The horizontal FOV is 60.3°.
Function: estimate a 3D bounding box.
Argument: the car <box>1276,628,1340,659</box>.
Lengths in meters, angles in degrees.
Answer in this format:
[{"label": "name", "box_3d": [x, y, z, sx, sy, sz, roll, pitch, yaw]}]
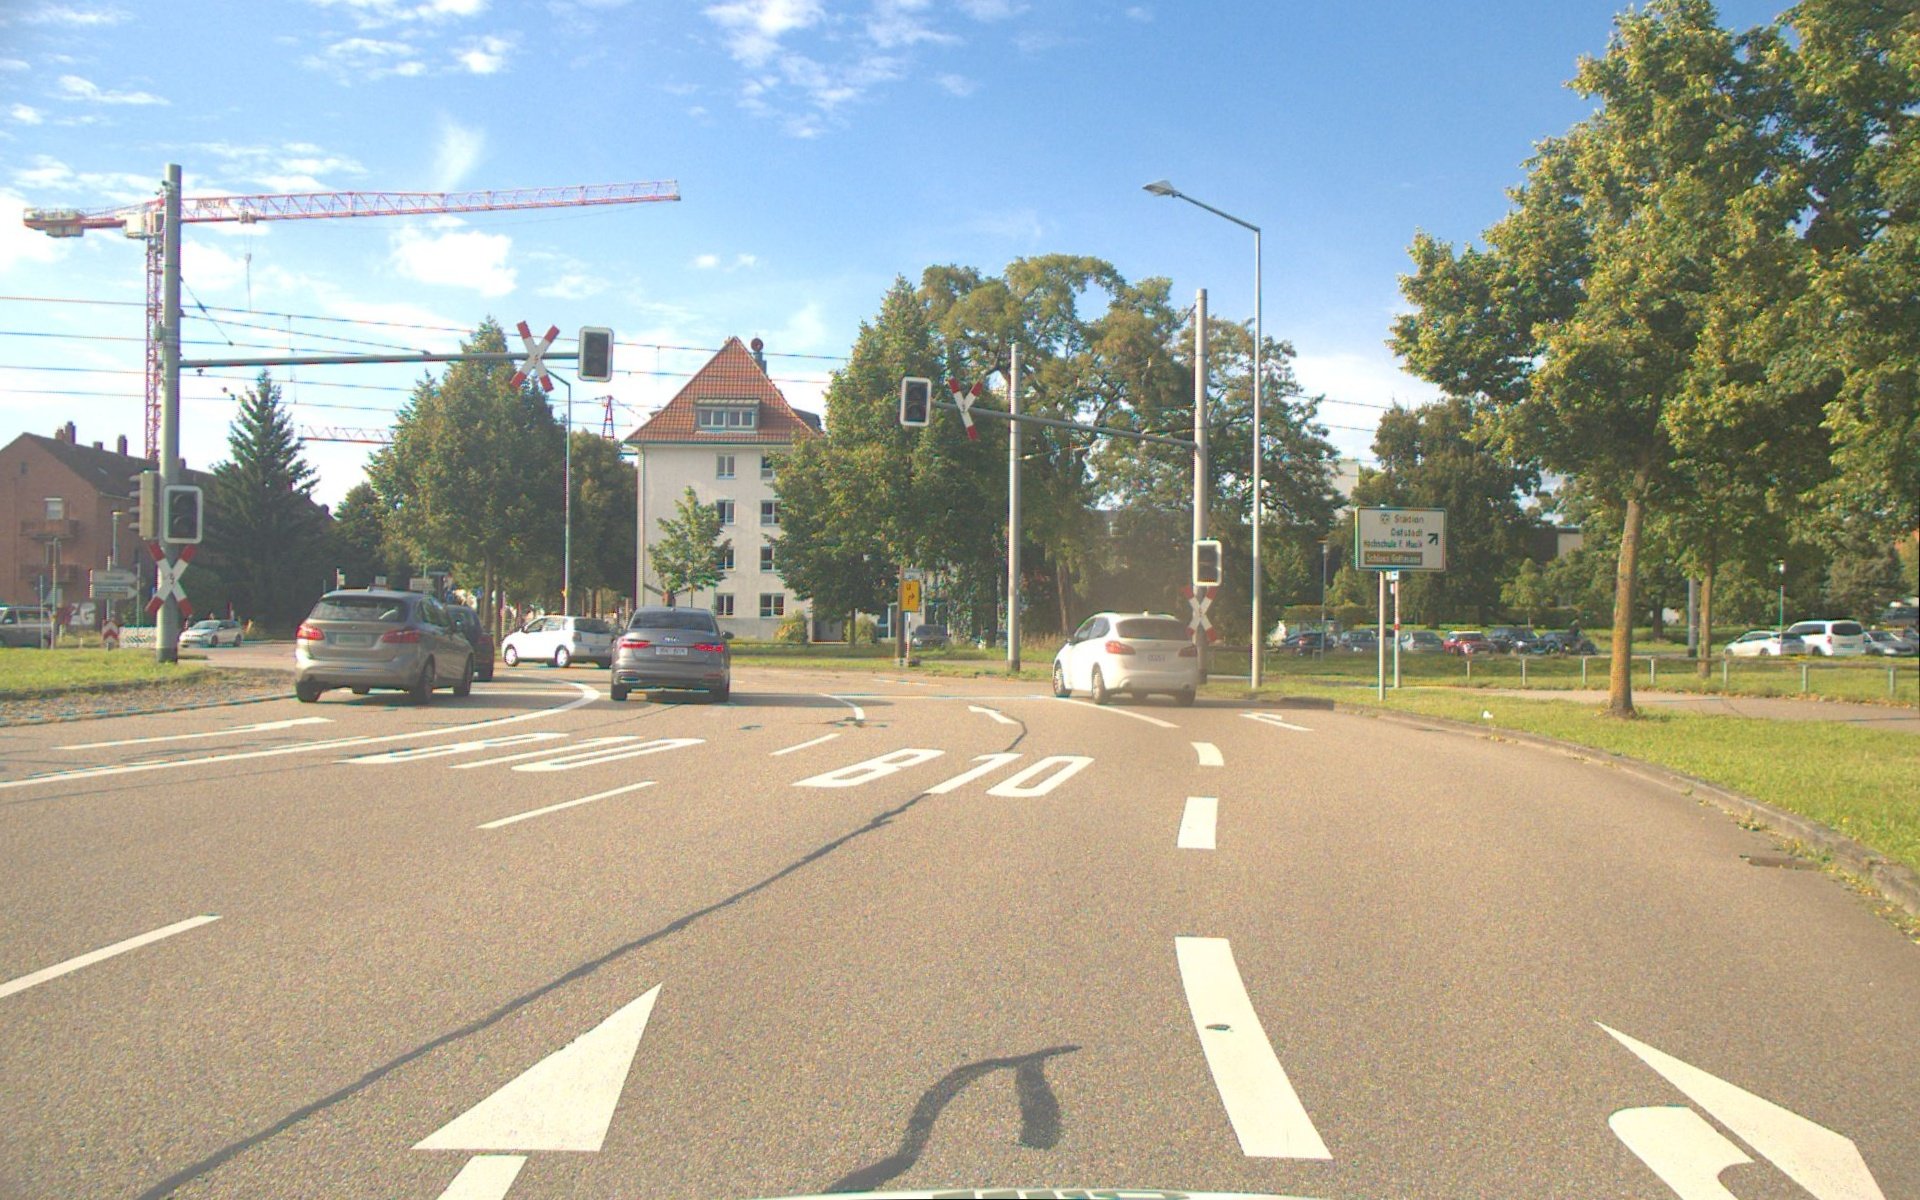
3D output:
[{"label": "car", "box_3d": [15.929, 1.977, 75.912, 1.817, 1.383, 4.731, 0, -1, -2]}]

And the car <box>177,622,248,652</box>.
[{"label": "car", "box_3d": [-41.085, 2.026, 91.023, 1.858, 1.570, 4.658, 1, -2, -2]}]

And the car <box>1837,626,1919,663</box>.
[{"label": "car", "box_3d": [43.239, 2.078, 77.748, 2.051, 1.703, 4.472, 0, -1, 6]}]

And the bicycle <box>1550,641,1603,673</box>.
[{"label": "bicycle", "box_3d": [25.028, 2.304, 67.155, 2.497, 1.244, 0.706, 1, -1, -34]}]

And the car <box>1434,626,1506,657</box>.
[{"label": "car", "box_3d": [23.582, 1.928, 76.635, 1.817, 1.386, 4.467, 0, -1, -2]}]

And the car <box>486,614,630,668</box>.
[{"label": "car", "box_3d": [-11.491, 1.153, 47.140, 4.375, 1.451, 1.845, 0, -2, 42]}]

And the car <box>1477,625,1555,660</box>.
[{"label": "car", "box_3d": [25.677, 1.956, 76.547, 1.817, 1.542, 4.943, 0, -1, -2]}]

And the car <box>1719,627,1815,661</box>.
[{"label": "car", "box_3d": [37.523, 2.028, 77.016, 1.821, 1.542, 4.459, 0, -1, -9]}]

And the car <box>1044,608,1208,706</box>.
[{"label": "car", "box_3d": [2.918, 1.015, 30.075, 1.817, 1.600, 4.443, 2, -2, -10]}]

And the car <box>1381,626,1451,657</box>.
[{"label": "car", "box_3d": [21.078, 1.913, 76.649, 1.817, 1.382, 4.832, 0, -1, -2]}]

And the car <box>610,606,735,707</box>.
[{"label": "car", "box_3d": [-4.702, 0.906, 27.085, 1.817, 1.470, 4.703, 2, -2, -10]}]

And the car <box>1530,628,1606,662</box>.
[{"label": "car", "box_3d": [28.211, 2.092, 76.899, 1.817, 1.542, 4.467, 0, -1, -2]}]

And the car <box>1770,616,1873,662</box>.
[{"label": "car", "box_3d": [40.235, 1.815, 77.434, 2.261, 2.042, 5.113, 0, -1, 1]}]

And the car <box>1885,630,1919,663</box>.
[{"label": "car", "box_3d": [45.405, 2.174, 77.687, 1.987, 1.542, 4.114, 0, -1, 6]}]

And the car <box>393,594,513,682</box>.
[{"label": "car", "box_3d": [-10.161, 0.772, 33.001, 1.965, 1.568, 3.974, 3, -2, -21]}]

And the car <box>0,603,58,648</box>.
[{"label": "car", "box_3d": [-42.137, 1.111, 73.090, 1.856, 1.936, 4.661, 1, -2, 2]}]

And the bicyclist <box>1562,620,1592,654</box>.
[{"label": "bicyclist", "box_3d": [25.091, 1.486, 67.228, 0.993, 1.379, 0.706, 1, -1, -33]}]

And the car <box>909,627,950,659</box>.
[{"label": "car", "box_3d": [-1.394, 1.939, 74.896, 1.817, 1.405, 4.513, 0, -1, -2]}]

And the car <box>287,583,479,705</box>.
[{"label": "car", "box_3d": [-8.323, 0.645, 24.209, 1.734, 1.600, 4.061, 1, -2, -6]}]
